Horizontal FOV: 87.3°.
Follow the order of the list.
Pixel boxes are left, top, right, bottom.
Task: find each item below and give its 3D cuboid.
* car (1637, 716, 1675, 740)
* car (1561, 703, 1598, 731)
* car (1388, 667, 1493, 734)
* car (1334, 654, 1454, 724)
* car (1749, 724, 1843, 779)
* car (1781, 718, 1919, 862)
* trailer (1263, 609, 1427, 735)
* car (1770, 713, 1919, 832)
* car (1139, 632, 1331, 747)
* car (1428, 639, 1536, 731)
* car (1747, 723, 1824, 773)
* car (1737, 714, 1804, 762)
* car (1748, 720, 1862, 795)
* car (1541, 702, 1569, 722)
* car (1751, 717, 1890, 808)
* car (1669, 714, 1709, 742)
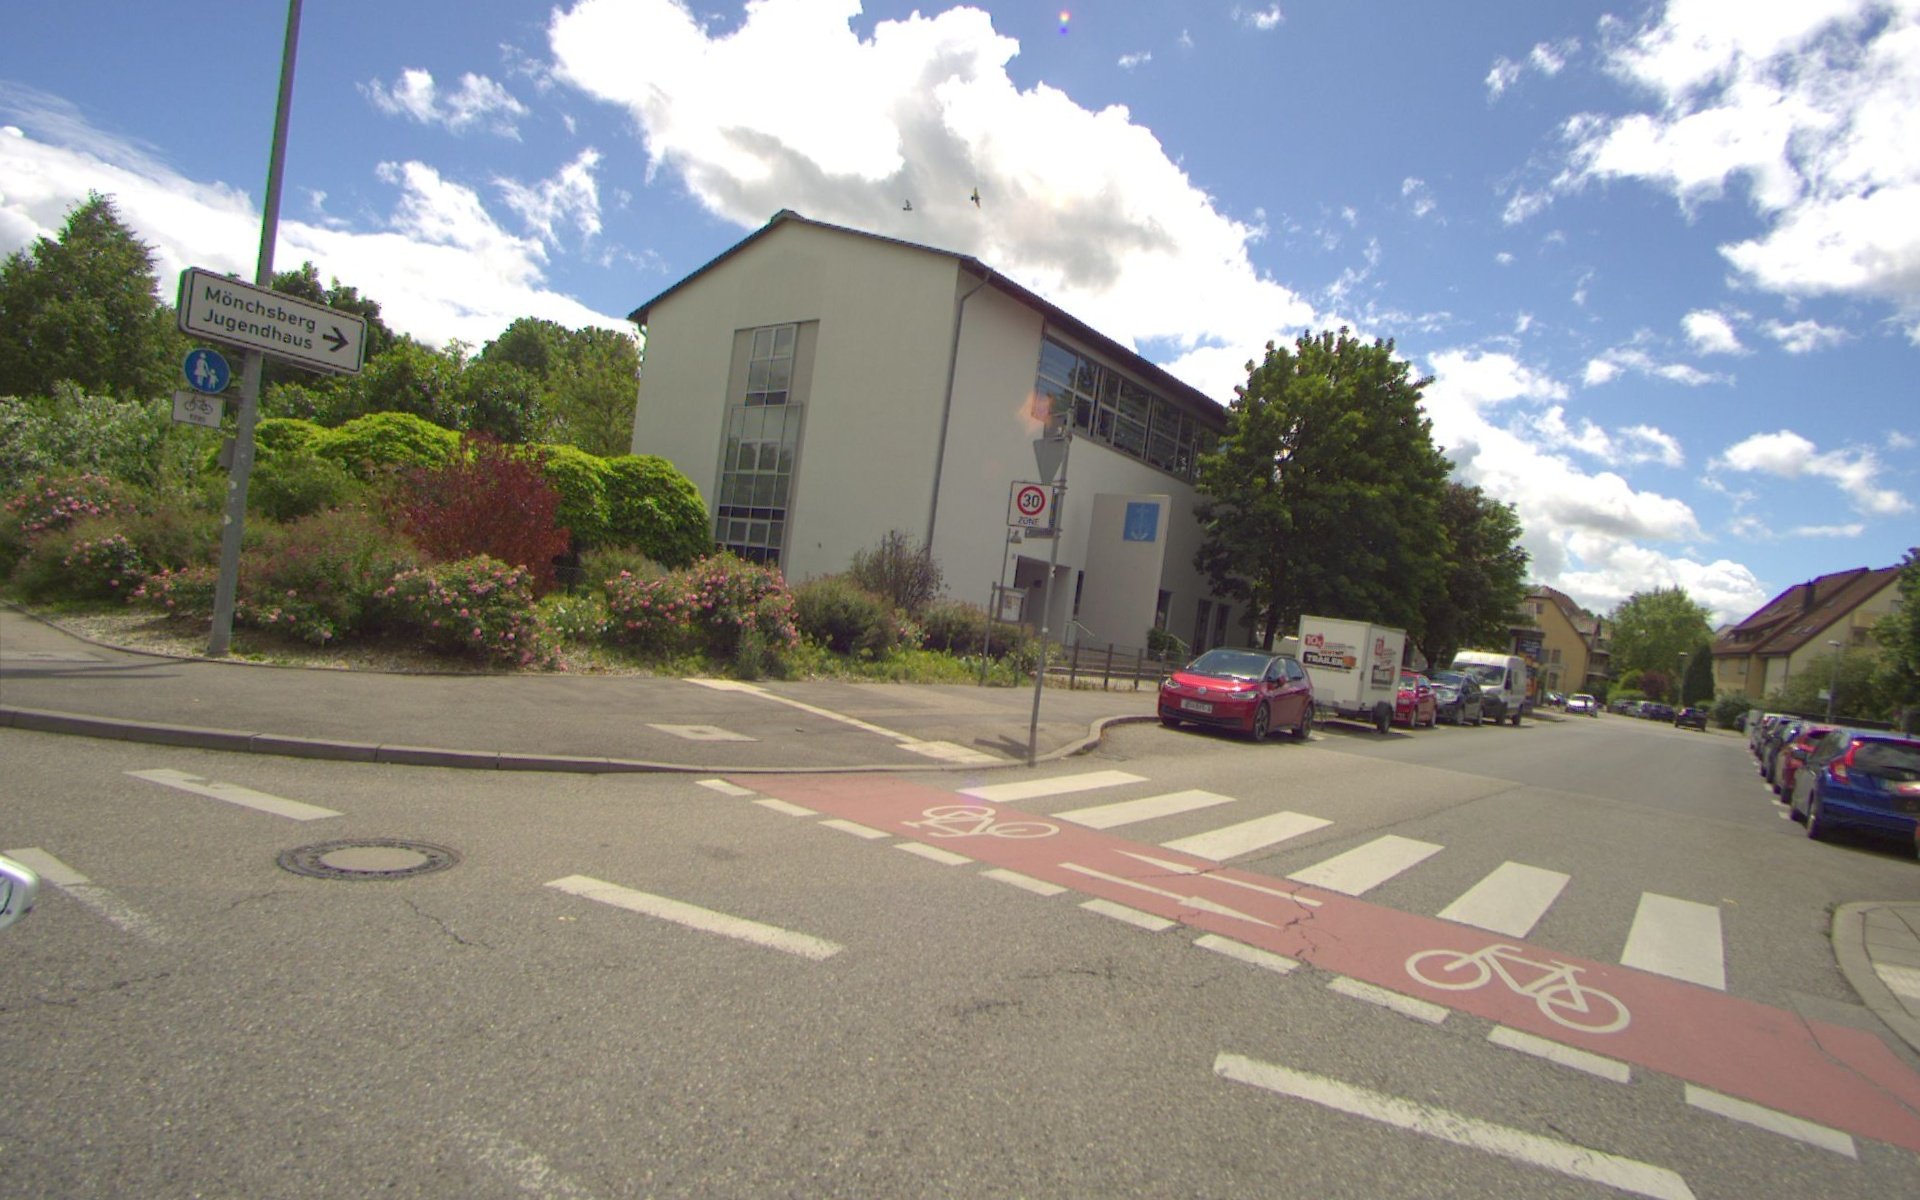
[{"bbox_3d":[58.797,10.765,85.041,1.965,1.578,4.088,7,-1,27],"label":"car"},{"bbox_3d":[42.426,7.972,68.874,1.967,1.578,4.083,7,-1,33],"label":"car"},{"bbox_3d":[15.232,3.203,31.782,1.882,1.744,3.983,7,-1,41],"label":"car"},{"bbox_3d":[12.037,2.455,27.768,1.970,1.521,4.079,8,0,38],"label":"car"},{"bbox_3d":[26.417,4.747,31.915,1.839,1.302,3.989,7,-1,35],"label":"car"},{"bbox_3d":[12.676,2.554,13.802,1.867,1.475,3.792,8,1,37],"label":"car"},{"bbox_3d":[9.400,1.817,24.329,2.188,2.516,4.538,8,-1,38],"label":"trailer"},{"bbox_3d":[16.325,3.105,18.594,1.802,1.663,3.688,8,-1,37],"label":"car"},{"bbox_3d":[5.173,1.658,18.521,1.968,1.580,4.160,9,0,35],"label":"car"},{"bbox_3d":[19.208,3.170,36.860,2.172,2.900,5.574,6,-1,39],"label":"car"},{"bbox_3d":[29.838,5.335,36.479,1.820,1.381,3.989,8,-1,37],"label":"car"},{"bbox_3d":[33.332,5.637,41.454,1.764,1.610,3.988,6,-1,36],"label":"car"},{"bbox_3d":[23.188,4.268,27.752,1.969,1.578,4.080,7,-1,36],"label":"car"},{"bbox_3d":[56.081,10.538,94.914,1.966,1.578,4.087,7,-1,29],"label":"car"},{"bbox_3d":[19.800,3.666,23.337,1.969,1.578,4.080,7,-1,36],"label":"car"},{"bbox_3d":[49.511,8.655,68.354,1.969,1.578,4.080,7,-1,36],"label":"car"}]
